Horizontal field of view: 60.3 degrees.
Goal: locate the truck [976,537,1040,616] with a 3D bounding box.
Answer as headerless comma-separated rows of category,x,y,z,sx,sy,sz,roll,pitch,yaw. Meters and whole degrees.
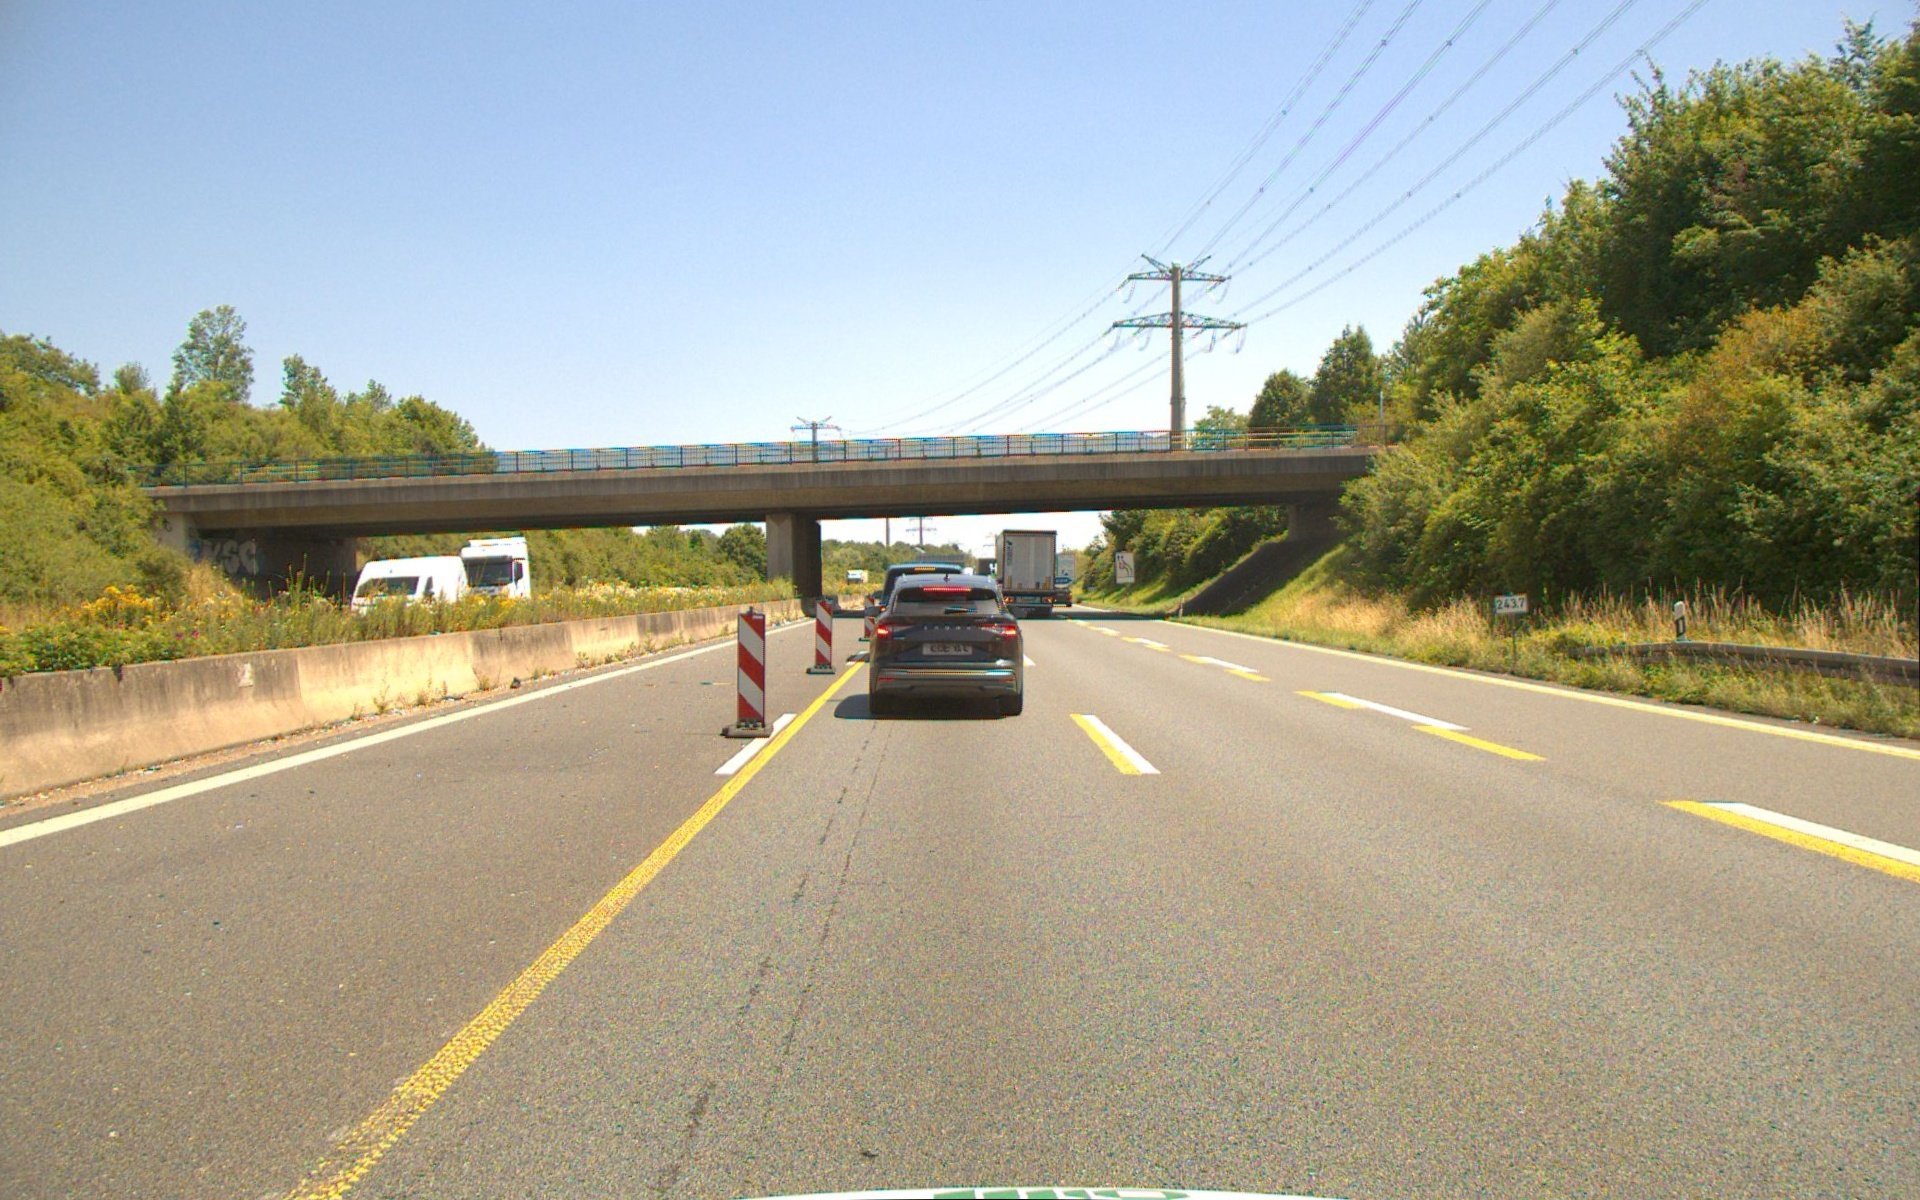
truck,2.581,-1.289,90.844,2.964,4.158,7.792,0,1,-2

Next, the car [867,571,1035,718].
car,-0.182,0.453,20.476,1.857,1.619,4.441,0,1,-2

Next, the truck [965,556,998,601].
truck,2.041,-2.053,161.239,3.015,4.219,13.054,1,0,0

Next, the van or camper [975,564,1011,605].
van or camper,2.483,-1.208,126.379,2.534,3.020,6.084,0,1,-1

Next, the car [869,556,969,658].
car,-0.866,0.121,34.077,1.858,1.873,4.440,3,0,-2

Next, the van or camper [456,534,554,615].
van or camper,-19.194,-1.060,70.069,2.518,3.242,6.231,0,1,-1

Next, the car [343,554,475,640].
car,-15.401,-0.096,46.564,2.070,2.236,5.310,1,0,-2

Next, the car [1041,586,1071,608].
car,6.682,-0.228,115.481,1.743,1.515,4.463,1,0,-1

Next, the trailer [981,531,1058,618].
trailer,2.891,-1.288,84.084,3.004,4.113,11.482,0,1,-3
